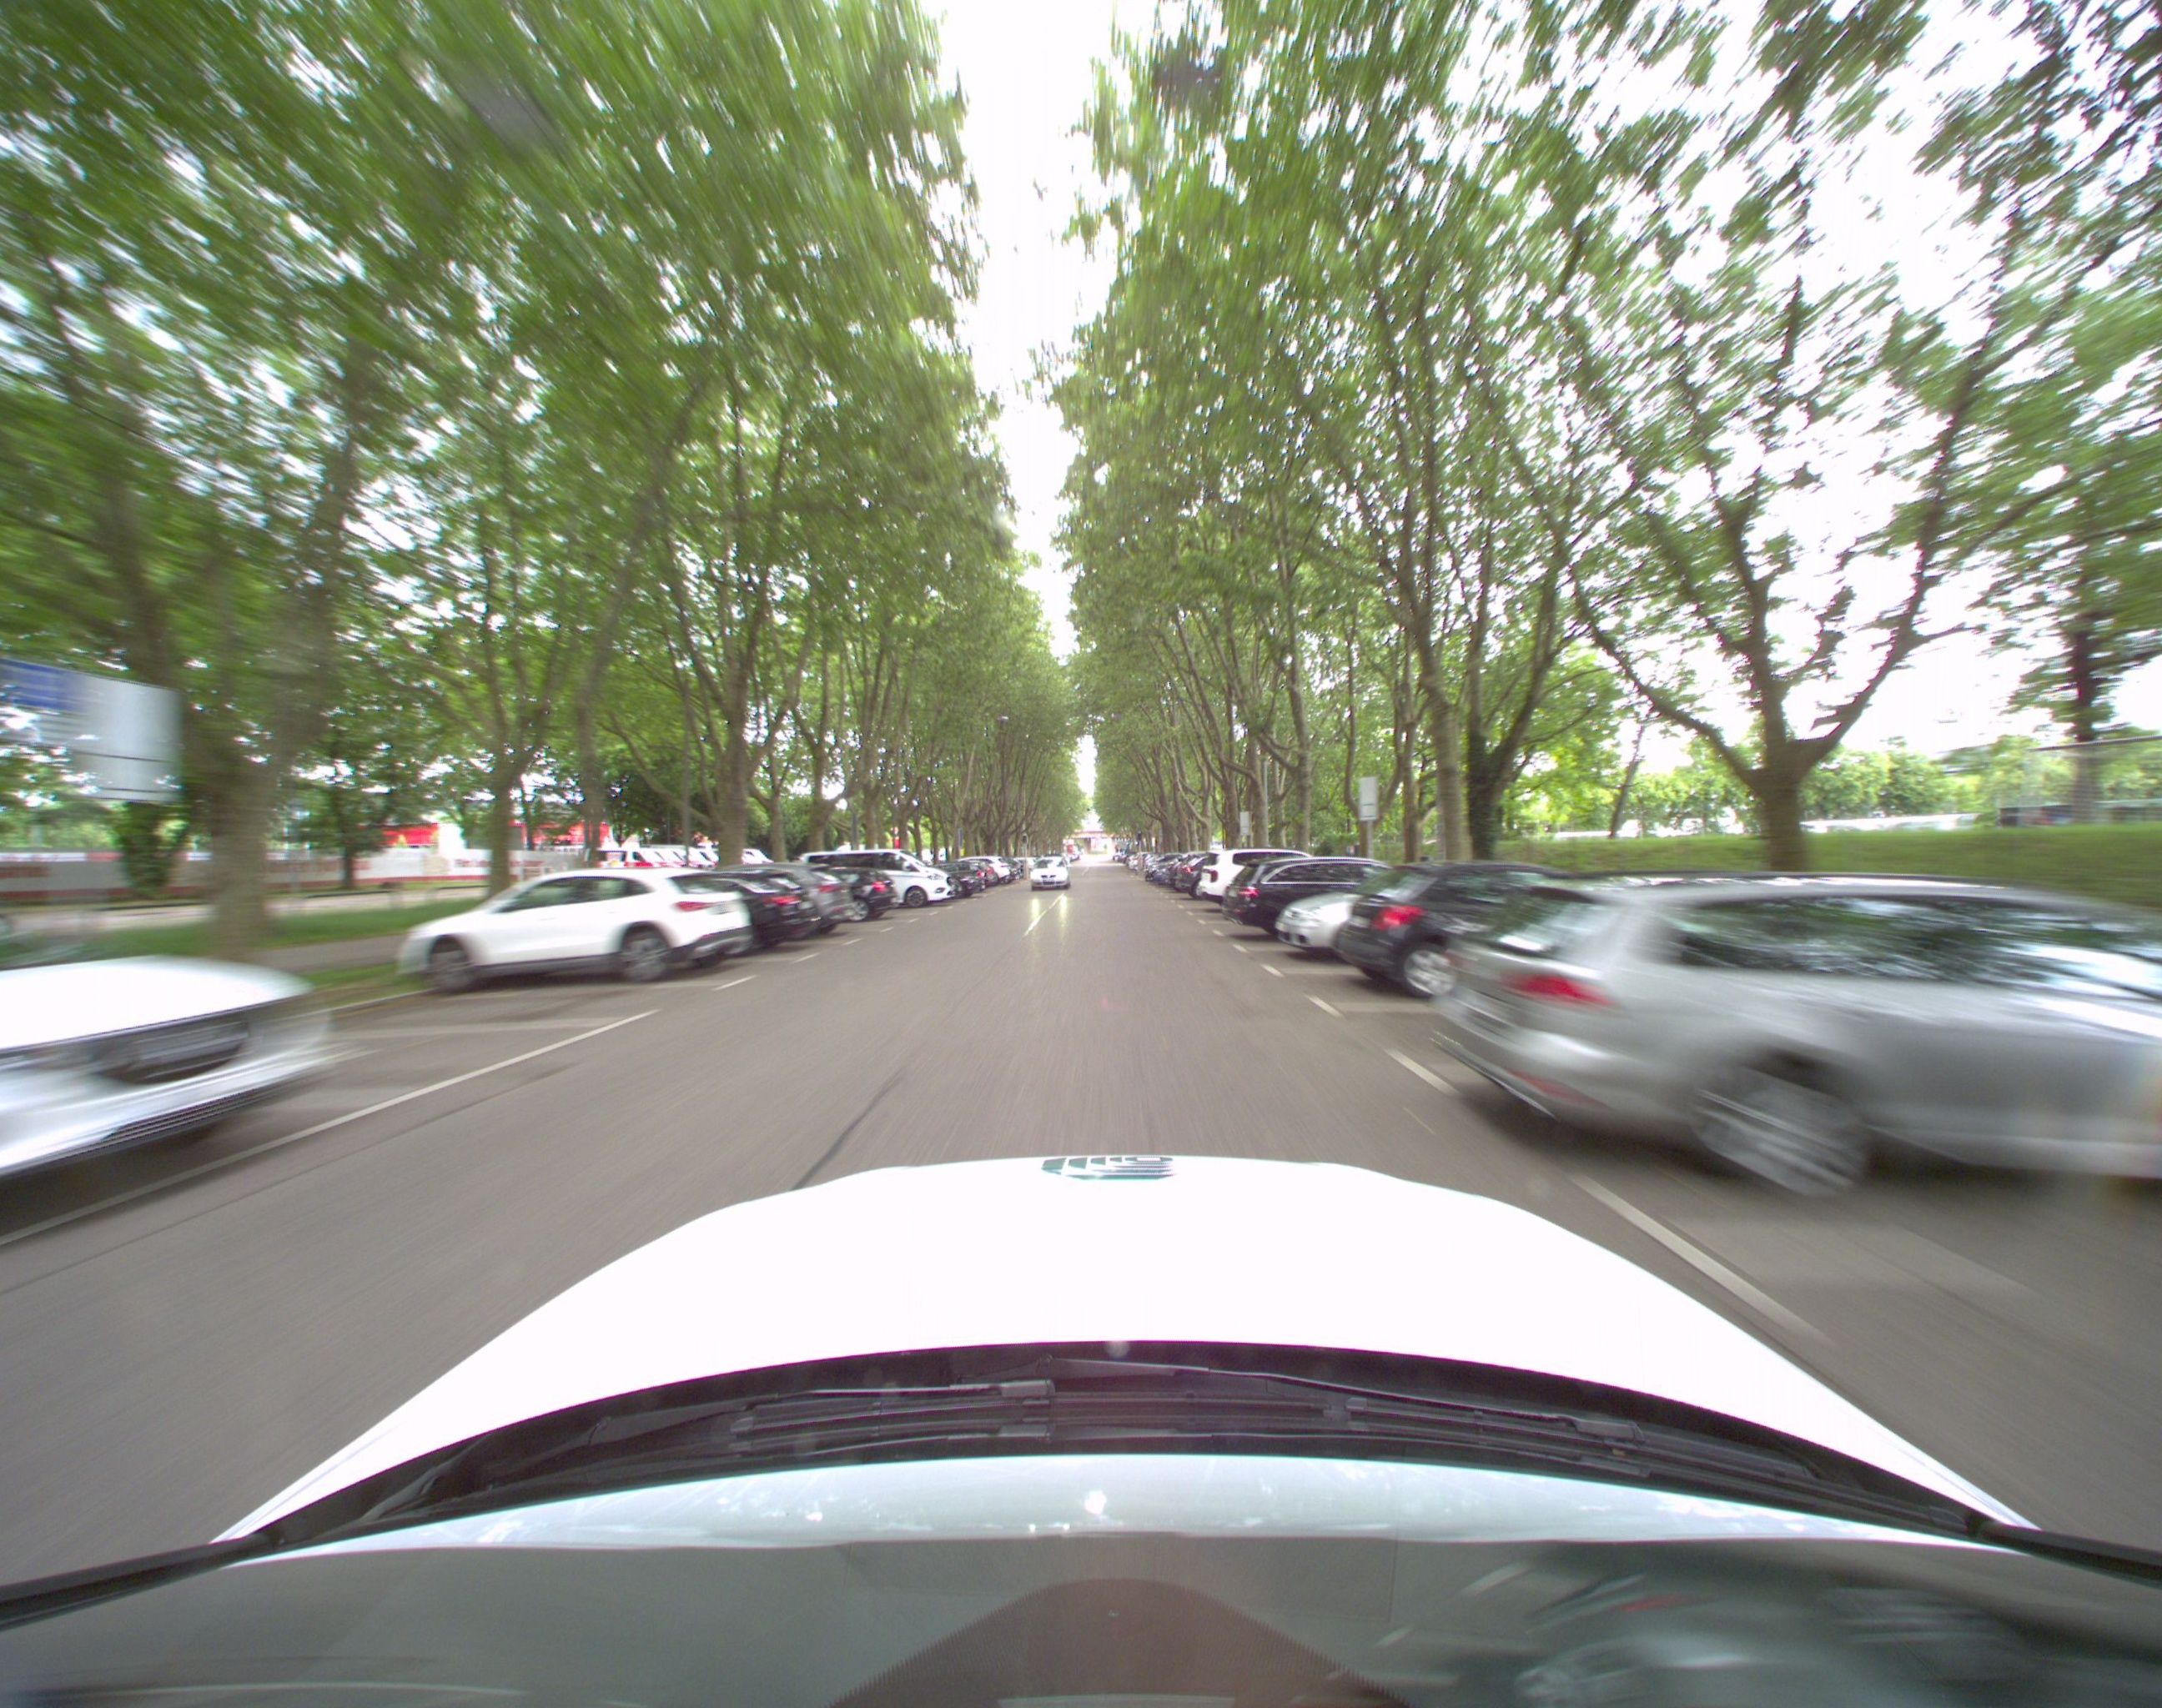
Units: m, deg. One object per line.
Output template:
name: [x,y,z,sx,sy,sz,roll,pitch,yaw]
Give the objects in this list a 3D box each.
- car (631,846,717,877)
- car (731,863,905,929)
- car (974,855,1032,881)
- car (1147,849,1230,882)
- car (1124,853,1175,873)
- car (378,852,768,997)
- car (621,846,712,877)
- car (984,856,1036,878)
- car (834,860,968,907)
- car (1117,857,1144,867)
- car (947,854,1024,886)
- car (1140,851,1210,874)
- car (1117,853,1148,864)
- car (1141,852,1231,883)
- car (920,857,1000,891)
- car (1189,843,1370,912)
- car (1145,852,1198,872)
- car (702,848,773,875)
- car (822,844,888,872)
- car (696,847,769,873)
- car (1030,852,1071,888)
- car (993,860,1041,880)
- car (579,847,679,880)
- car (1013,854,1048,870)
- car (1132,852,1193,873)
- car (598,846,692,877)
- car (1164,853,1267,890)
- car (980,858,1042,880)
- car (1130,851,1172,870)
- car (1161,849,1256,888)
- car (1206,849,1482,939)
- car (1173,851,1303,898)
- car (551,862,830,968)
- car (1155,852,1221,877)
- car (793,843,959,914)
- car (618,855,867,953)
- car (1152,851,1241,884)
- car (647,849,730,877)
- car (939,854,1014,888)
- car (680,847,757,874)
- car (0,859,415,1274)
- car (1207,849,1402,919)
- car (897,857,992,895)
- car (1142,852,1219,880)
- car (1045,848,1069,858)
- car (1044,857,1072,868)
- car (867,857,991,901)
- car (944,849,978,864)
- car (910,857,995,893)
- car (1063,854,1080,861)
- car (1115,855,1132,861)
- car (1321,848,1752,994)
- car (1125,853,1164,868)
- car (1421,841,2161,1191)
car: [-33.012,0.604,66.166,5.981,2.527,2.000,0,0,0]
car: [-6.895,1.071,21.637,3.975,1.413,1.682,-4,0,-1]
car: [-5.397,0.933,56.676,3.817,1.608,1.693,-3,0,-2]
car: [5.494,0.566,41.887,4.098,1.670,1.695,0,0,1]
car: [5.787,0.751,69.385,4.156,1.596,1.853,0,0,-3]
car: [-7.197,0.945,11.936,4.327,1.667,1.999,-4,0,-1]
car: [-32.289,0.580,63.538,5.981,2.318,2.000,0,0,0]
car: [-5.355,0.974,61.825,3.817,1.429,1.693,-3,0,-2]
car: [-6.546,1.062,29.893,4.434,1.452,1.774,-3,0,0]
car: [7.835,1.272,128.702,4.154,1.442,1.734,-1,0,6]
car: [-5.443,0.894,46.756,4.050,1.608,1.801,-3,0,3]
car: [6.049,0.540,52.567,4.352,1.470,1.624,0,0,0]
car: [7.697,0.676,121.443,4.551,1.486,2.003,-1,0,6]
car: [5.070,0.632,39.695,4.198,1.451,1.610,0,0,-1]
car: [-6.189,1.012,41.841,3.817,1.471,1.693,-3,0,-2]
car: [5.174,0.597,21.596,4.371,1.755,1.800,0,0,-1]
car: [6.884,0.617,62.120,3.766,1.470,1.622,0,0,-3]
car: [-32.835,0.712,77.918,5.981,2.527,2.000,0,0,0]
car: [-21.622,0.370,78.018,5.764,2.597,2.001,0,0,1]
car: [-32.364,0.553,75.735,5.981,2.305,2.000,0,0,0]
car: [-1.330,0.698,37.137,1.683,1.471,3.839,-3,0,0]
car: [-5.240,1.304,66.877,3.817,1.497,1.693,-3,0,-2]
car: [-32.293,0.669,58.294,5.981,2.252,2.000,0,0,0]
car: [-5.665,0.903,91.908,3.817,1.554,1.693,-3,0,-2]
car: [5.897,0.627,59.329,4.286,1.470,1.622,0,0,-3]
car: [-32.602,0.533,60.986,5.981,2.252,2.000,0,0,0]
car: [5.241,0.677,32.043,3.815,1.389,1.694,0,0,-1]
car: [-5.059,1.056,59.356,4.389,1.365,1.693,-3,0,-2]
car: [6.393,0.571,74.549,3.636,1.667,1.518,0,0,-3]
car: [5.382,0.619,34.685,3.815,1.607,1.694,0,0,-1]
car: [4.638,0.683,14.789,4.488,1.526,1.702,0,0,-1]
car: [5.110,0.641,26.884,3.975,1.486,1.694,0,0,-1]
car: [-6.794,1.027,14.518,3.975,1.475,1.842,-4,0,-1]
car: [6.466,0.628,49.481,3.763,1.470,1.667,0,0,0]
car: [-6.699,0.768,27.002,4.877,2.019,1.919,-3,0,0]
car: [-7.003,0.986,17.239,4.327,1.667,1.999,-4,0,-1]
car: [5.217,0.613,37.043,3.815,1.455,1.694,0,0,-1]
car: [-32.989,0.751,68.478,5.981,2.240,2.000,0,0,0]
car: [-5.621,0.894,44.220,3.817,1.627,1.951,-3,0,-2]
car: [-32.567,0.580,73.321,5.981,2.330,2.000,0,0,0]
car: [-6.421,0.946,4.095,4.366,1.597,1.999,-3,0,-1]
car: [5.203,0.679,19.326,4.173,1.557,1.700,0,0,-1]
car: [-6.102,0.968,36.781,3.985,1.471,1.536,-3,0,-2]
car: [5.427,0.643,44.731,4.099,1.470,1.695,0,0,1]
car: [-4.044,-0.160,138.625,3.794,1.602,1.789,-3,0,6]
car: [-3.450,1.223,121.913,3.794,1.354,1.665,-3,0,6]
car: [-5.940,0.962,32.133,4.426,1.452,1.777,-3,0,5]
car: [-18.817,0.412,127.395,5.062,2.232,1.535,0,0,-1]
car: [-6.214,1.014,39.736,3.744,1.474,1.864,-3,0,0]
car: [-2.164,0.813,183.977,3.796,1.515,1.688,-1,0,4]
car: [10.610,0.936,203.116,4.359,1.523,1.732,-1,0,2]
car: [5.054,0.697,9.445,4.032,1.526,1.814,0,0,-1]
car: [6.174,0.637,79.736,3.636,1.424,1.984,0,0,-2]
car: [4.230,0.722,4.373,4.102,1.429,1.704,2,0,3]
